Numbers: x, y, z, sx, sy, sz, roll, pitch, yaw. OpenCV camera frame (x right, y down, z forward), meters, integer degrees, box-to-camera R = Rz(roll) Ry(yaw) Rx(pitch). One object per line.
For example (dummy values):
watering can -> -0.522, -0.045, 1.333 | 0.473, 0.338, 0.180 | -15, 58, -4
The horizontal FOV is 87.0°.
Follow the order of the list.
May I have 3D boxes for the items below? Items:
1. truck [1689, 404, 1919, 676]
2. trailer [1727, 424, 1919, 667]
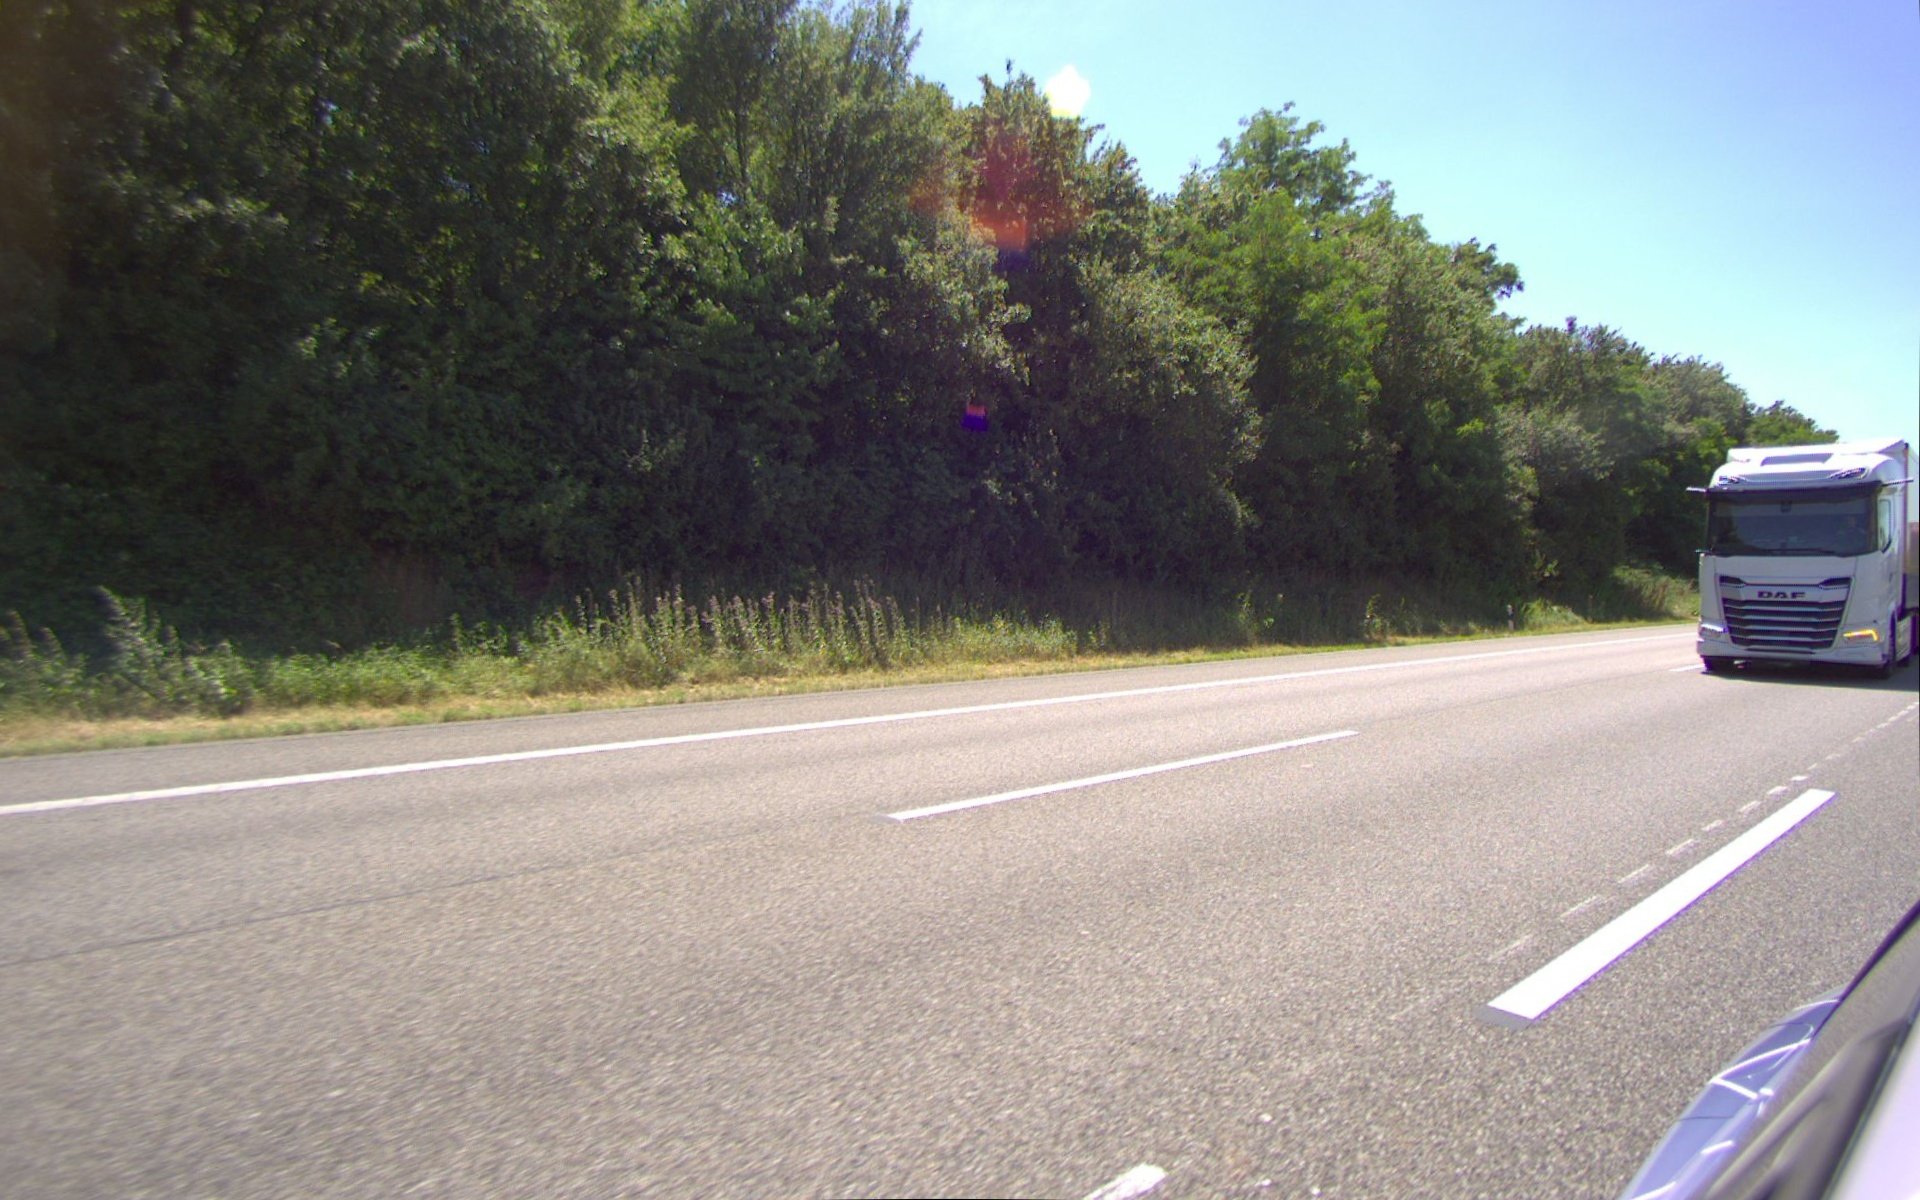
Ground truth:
truck -> 15.595, -0.955, 18.338 | 5.945, 4.121, 2.681 | -1, 1, -42
trailer -> 20.465, -1.012, 22.704 | 13.598, 4.121, 2.681 | -1, 1, -42
